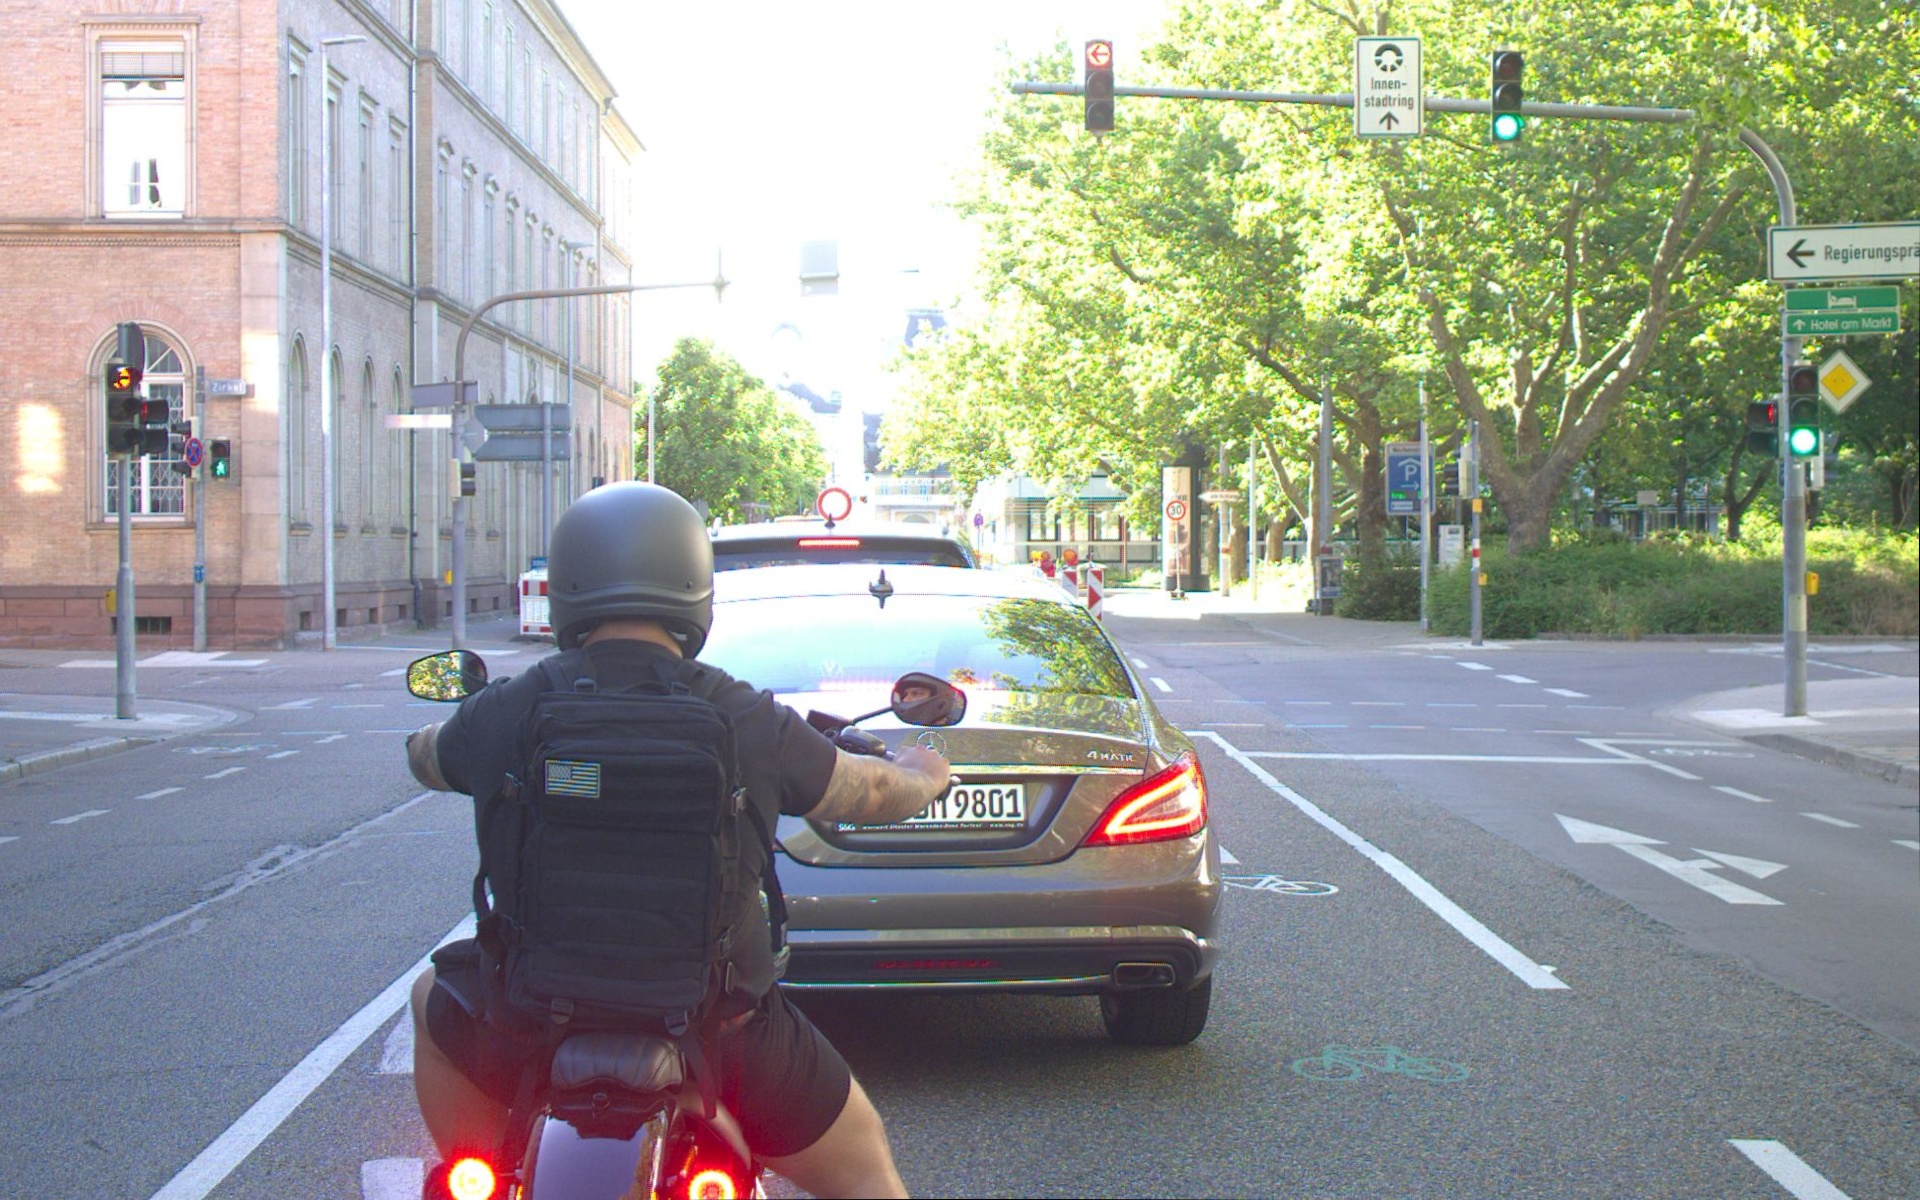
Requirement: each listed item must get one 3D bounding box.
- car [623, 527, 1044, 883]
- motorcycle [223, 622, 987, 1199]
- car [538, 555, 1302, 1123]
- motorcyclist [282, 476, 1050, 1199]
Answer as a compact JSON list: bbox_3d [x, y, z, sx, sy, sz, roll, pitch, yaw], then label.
[{"bbox_3d":[-0.650,0.416,16.767,1.813,1.530,3.849,0,1,-3],"label":"car"},{"bbox_3d":[-0.469,0.736,5.536,0.962,1.352,2.320,1,1,-1],"label":"motorcycle"},{"bbox_3d":[-0.349,0.585,11.098,1.901,1.436,4.290,0,1,-8],"label":"car"},{"bbox_3d":[-0.419,0.617,5.264,1.061,1.577,0.908,1,0,-1],"label":"motorcyclist"}]
